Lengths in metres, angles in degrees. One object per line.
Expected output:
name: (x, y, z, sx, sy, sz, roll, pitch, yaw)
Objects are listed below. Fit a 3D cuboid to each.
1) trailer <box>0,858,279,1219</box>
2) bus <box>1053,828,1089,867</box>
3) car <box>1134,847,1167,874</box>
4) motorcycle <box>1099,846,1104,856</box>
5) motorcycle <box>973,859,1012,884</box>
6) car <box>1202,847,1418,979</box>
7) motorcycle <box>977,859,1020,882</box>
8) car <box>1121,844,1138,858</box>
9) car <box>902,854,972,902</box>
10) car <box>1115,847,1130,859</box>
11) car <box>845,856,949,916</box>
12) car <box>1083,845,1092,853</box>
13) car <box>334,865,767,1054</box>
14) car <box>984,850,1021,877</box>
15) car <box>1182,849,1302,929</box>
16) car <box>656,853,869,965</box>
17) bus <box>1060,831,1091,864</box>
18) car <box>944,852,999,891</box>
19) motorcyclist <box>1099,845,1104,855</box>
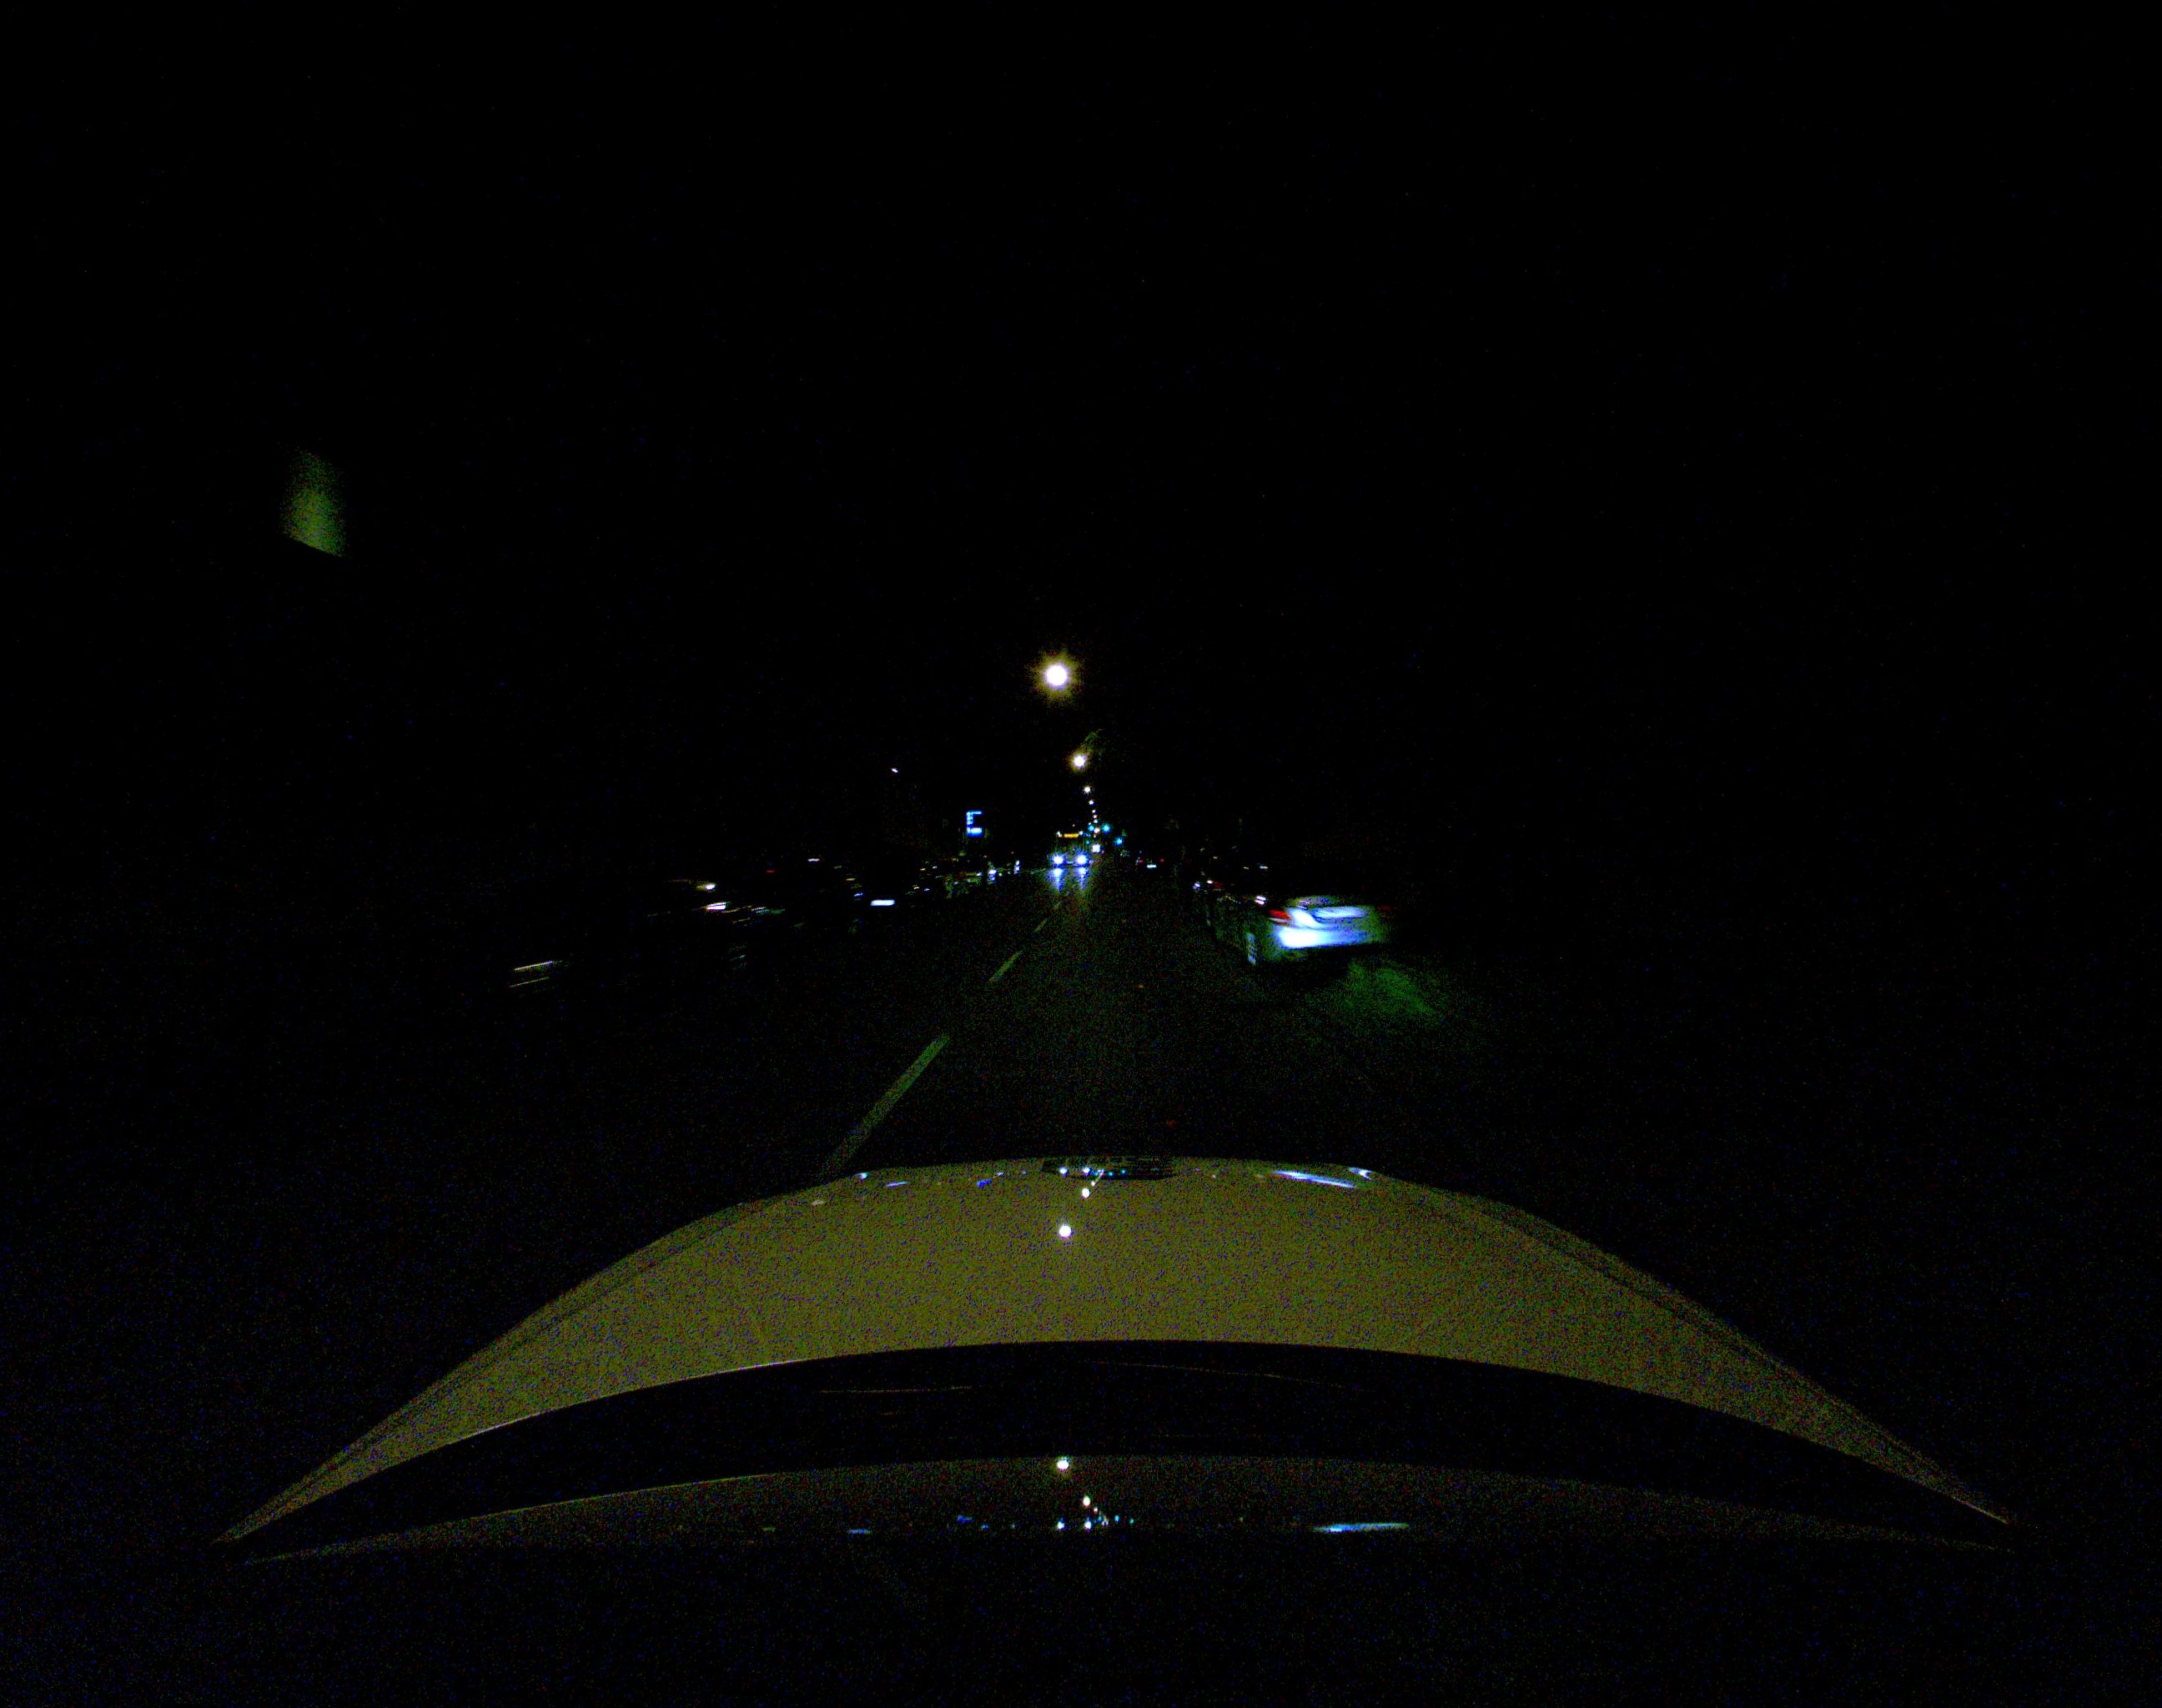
trailer: (-5.792, 0.843, 3.225, 1.629, 1.639, 3.445, -1, -1, 6)
bus: (-0.769, -0.601, 73.244, 2.827, 3.177, 10.502, 0, 1, 2)
car: (4.262, 0.372, 50.340, 1.756, 1.476, 4.082, -3, 1, 2)
motorcycle: (3.574, -0.455, 142.761, 0.927, 1.752, 2.626, 0, -1, 2)
motorcycle: (-4.320, 0.833, 39.467, 0.720, 1.147, 2.182, -2, 1, -41)
car: (3.033, 0.715, 11.900, 1.839, 1.417, 4.646, -4, -1, 1)
motorcycle: (-4.211, 0.835, 41.485, 2.180, 1.131, 0.720, -1, 1, 34)
car: (5.861, -0.346, 98.977, 1.805, 1.594, 4.275, -3, 1, 2)
car: (-4.783, 0.756, 27.489, 1.616, 1.491, 3.781, 0, -1, 1)
car: (5.758, -0.213, 112.518, 1.862, 1.526, 4.151, -3, 1, 2)
car: (-4.998, 0.828, 22.696, 1.857, 1.491, 4.280, -1, -1, 1)
car: (1.608, -1.231, 190.627, 1.937, 1.717, 4.001, -1, -1, 2)
car: (-5.374, 0.926, 9.180, 1.829, 1.446, 4.544, -2, 0, 0)
car: (-4.482, 0.541, 46.751, 1.632, 1.498, 2.767, -1, -1, 3)
car: (3.273, 0.654, 17.282, 1.765, 1.448, 4.020, -2, 0, 1)
car: (-5.318, 0.814, 14.350, 1.828, 1.619, 4.546, -1, 0, 2)
bus: (-0.507, -0.697, 82.342, 2.827, 3.177, 7.664, 0, 1, 2)
car: (-4.672, 0.696, 35.229, 1.698, 1.491, 4.228, -3, 0, 1)
motorcyclist: (3.569, -0.651, 142.760, 0.845, 1.752, 0.806, 0, -1, 1)
